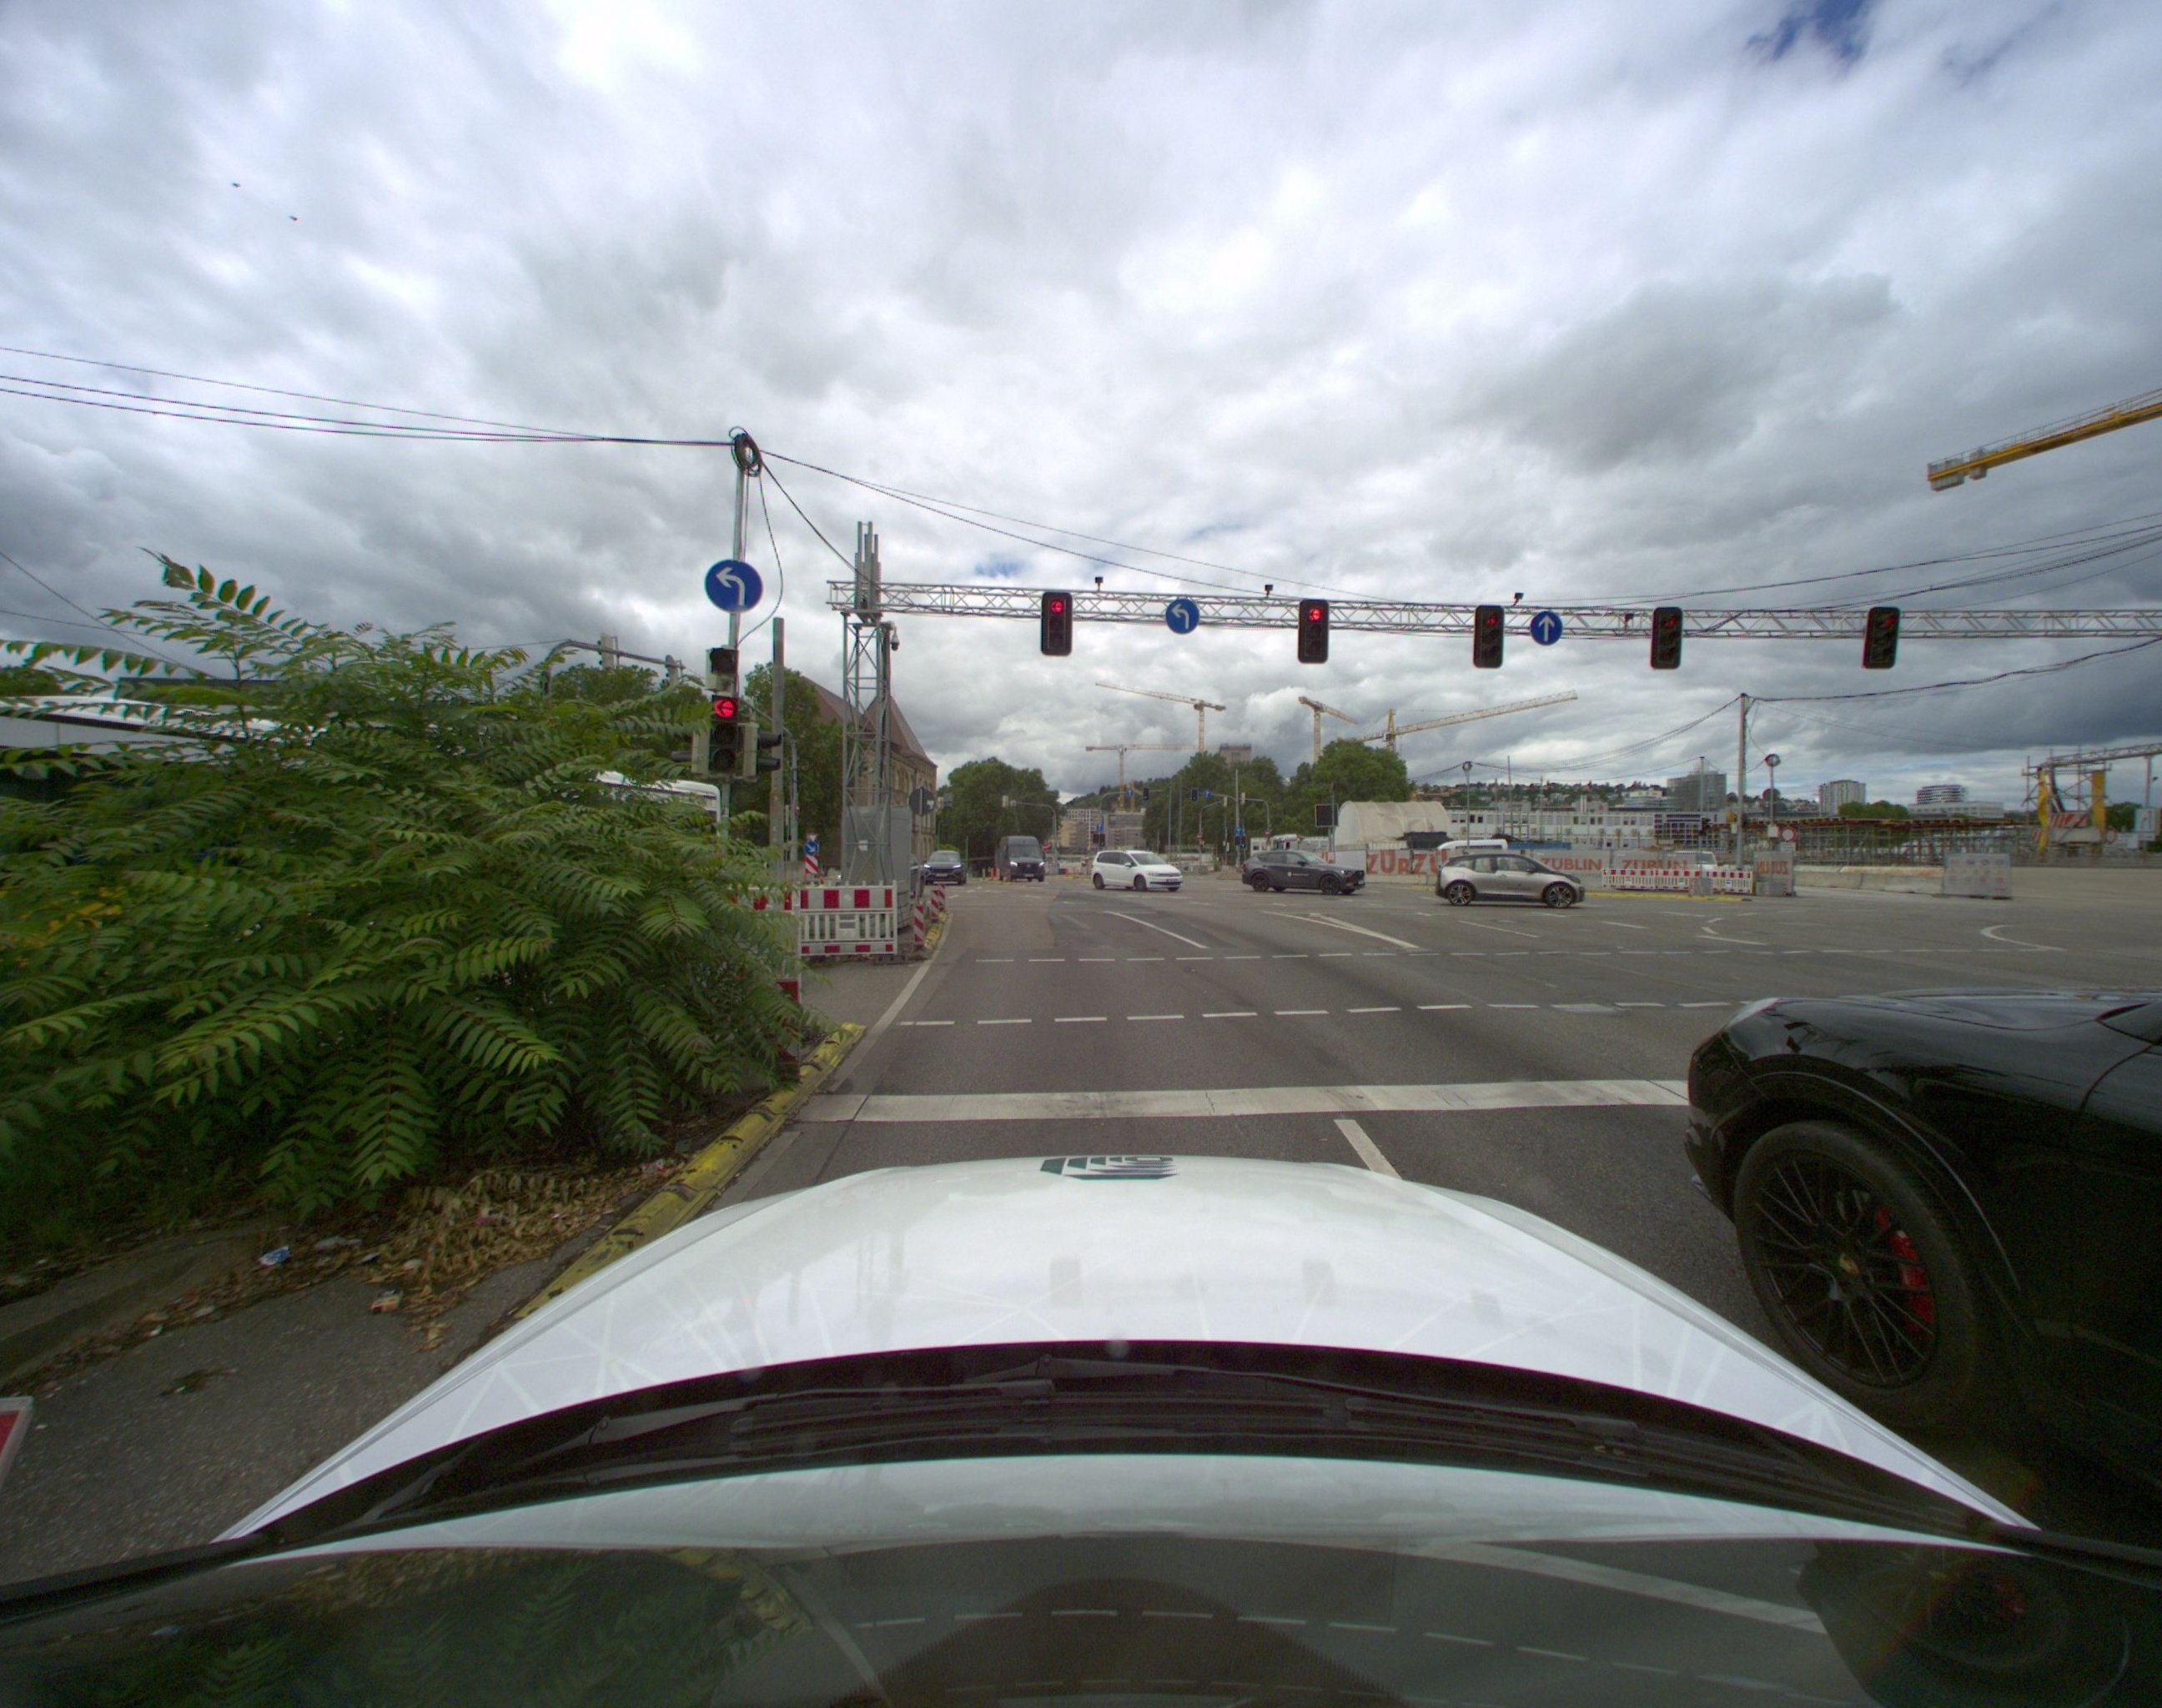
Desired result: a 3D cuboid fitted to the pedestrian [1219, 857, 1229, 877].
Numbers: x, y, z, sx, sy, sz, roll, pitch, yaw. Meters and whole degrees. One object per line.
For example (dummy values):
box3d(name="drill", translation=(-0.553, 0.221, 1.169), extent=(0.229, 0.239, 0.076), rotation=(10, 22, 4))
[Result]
box3d(name="pedestrian", translation=(11.948, 1.100, 68.228), extent=(0.727, 1.689, 0.678), rotation=(0, 0, 1))

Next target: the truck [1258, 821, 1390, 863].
box3d(name="truck", translation=(24.672, -1.127, 82.538), extent=(13.063, 4.041, 3.926), rotation=(0, 0, -19))

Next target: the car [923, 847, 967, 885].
box3d(name="car", translation=(-6.350, 0.519, 37.918), extent=(1.878, 1.670, 4.429), rotation=(0, 0, -10))

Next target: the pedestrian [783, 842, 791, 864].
box3d(name="pedestrian", translation=(-27.028, -0.100, 74.820), extent=(0.530, 2.014, 0.423), rotation=(1, -1, -42))

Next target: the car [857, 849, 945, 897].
box3d(name="car", translation=(-5.914, 0.572, 27.262), extent=(1.871, 1.472, 4.445), rotation=(0, 0, 1))

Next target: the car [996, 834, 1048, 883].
box3d(name="car", translation=(-3.424, 0.230, 46.437), extent=(2.059, 2.594, 5.987), rotation=(0, 0, -13))

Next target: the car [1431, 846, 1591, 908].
box3d(name="car", translation=(12.548, 0.609, 23.944), extent=(4.015, 1.668, 1.811), rotation=(0, 0, 27))

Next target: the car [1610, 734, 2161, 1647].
box3d(name="car", translation=(2.943, 0.630, 0.854), extent=(1.947, 1.686, 4.638), rotation=(0, 0, 3))

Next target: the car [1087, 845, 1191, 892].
box3d(name="car", translation=(2.248, 0.518, 32.692), extent=(1.891, 1.736, 4.398), rotation=(0, 0, -34))

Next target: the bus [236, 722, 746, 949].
box3d(name="bus", translation=(-10.020, -0.279, 15.786), extent=(2.833, 3.114, 9.130), rotation=(0, 0, 3))

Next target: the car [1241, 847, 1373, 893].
box3d(name="car", translation=(8.705, 0.567, 31.570), extent=(4.550, 1.670, 1.896), rotation=(1, 0, 40))

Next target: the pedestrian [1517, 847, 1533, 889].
box3d(name="pedestrian", translation=(21.829, 0.674, 40.039), extent=(0.645, 2.013, 0.520), rotation=(0, 0, 26))

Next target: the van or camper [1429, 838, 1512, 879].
box3d(name="van or camper", translation=(22.934, 0.255, 48.109), extent=(4.181, 2.357, 2.009), rotation=(0, 0, 16))

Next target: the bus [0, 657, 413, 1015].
box3d(name="bus", translation=(-10.872, -0.160, 6.304), extent=(2.833, 3.114, 9.760), rotation=(0, 0, 4))
